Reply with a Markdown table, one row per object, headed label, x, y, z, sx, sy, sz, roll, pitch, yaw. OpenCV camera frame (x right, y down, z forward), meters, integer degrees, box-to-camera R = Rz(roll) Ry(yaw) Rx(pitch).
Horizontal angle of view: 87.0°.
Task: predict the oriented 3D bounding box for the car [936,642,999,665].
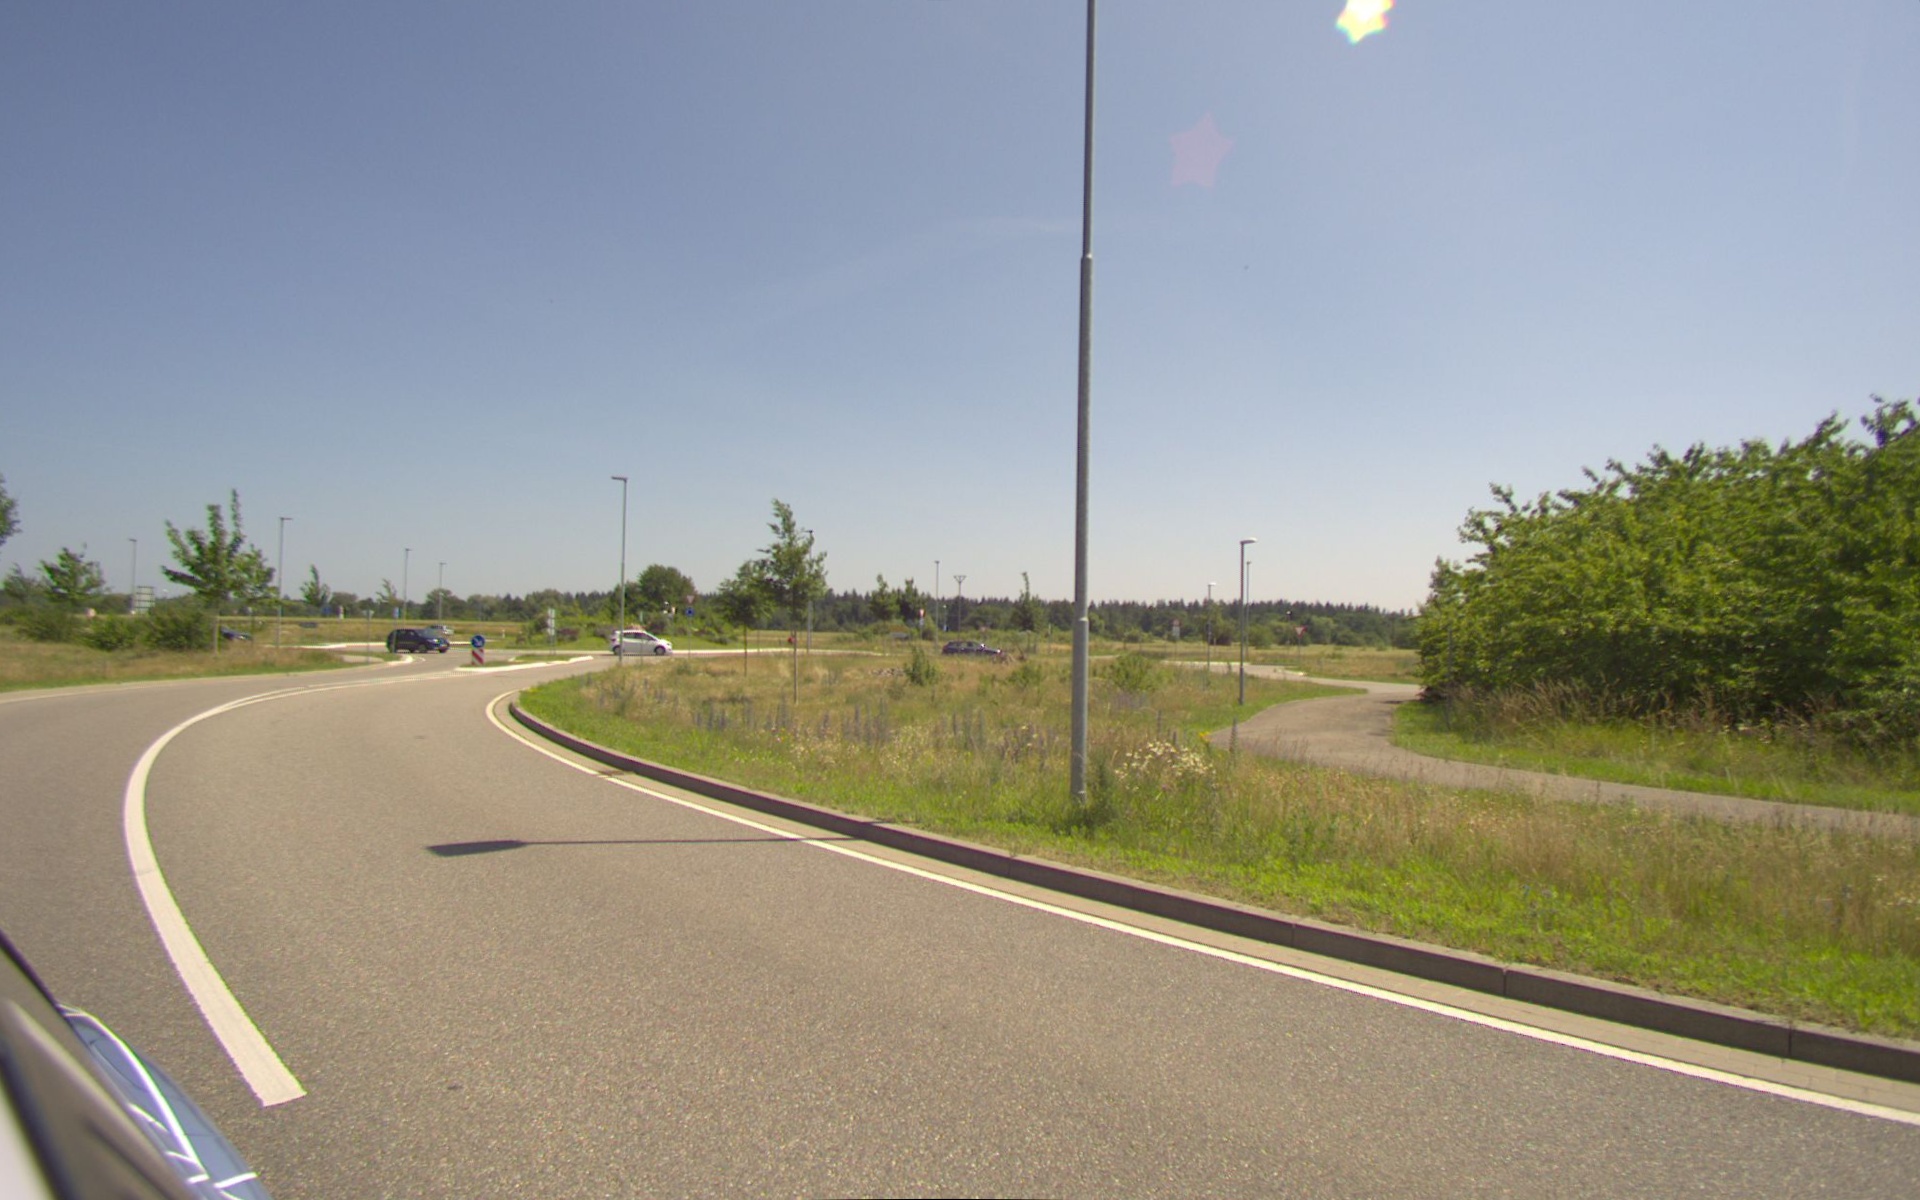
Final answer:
| label | x | y | z | sx | sy | sz | roll | pitch | yaw |
| --- | --- | --- | --- | --- | --- | --- | --- | --- | --- |
| car | 0.497 | 3.854 | 73.174 | 4.455 | 1.445 | 1.870 | 2 | 0 | -1 |

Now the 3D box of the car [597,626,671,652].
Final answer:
| label | x | y | z | sx | sy | sz | roll | pitch | yaw |
| --- | --- | --- | --- | --- | --- | --- | --- | --- | --- |
| car | -21.263 | 2.522 | 66.138 | 4.444 | 1.573 | 1.874 | 2 | -1 | -14 |

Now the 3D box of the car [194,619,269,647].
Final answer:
| label | x | y | z | sx | sy | sz | roll | pitch | yaw |
| --- | --- | --- | --- | --- | --- | --- | --- | --- | --- |
| car | -51.305 | 2.308 | 71.307 | 4.479 | 1.836 | 1.860 | 1 | -1 | 15 |

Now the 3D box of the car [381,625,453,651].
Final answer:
| label | x | y | z | sx | sy | sz | roll | pitch | yaw |
| --- | --- | --- | --- | --- | --- | --- | --- | --- | --- |
| car | -35.476 | 2.489 | 66.121 | 4.114 | 1.573 | 1.713 | 1 | -1 | 16 |

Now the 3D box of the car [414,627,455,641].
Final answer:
| label | x | y | z | sx | sy | sz | roll | pitch | yaw |
| --- | --- | --- | --- | --- | --- | --- | --- | --- | --- |
| car | -61.975 | 3.989 | 119.433 | 3.962 | 1.497 | 1.990 | 1 | -3 | 15 |
